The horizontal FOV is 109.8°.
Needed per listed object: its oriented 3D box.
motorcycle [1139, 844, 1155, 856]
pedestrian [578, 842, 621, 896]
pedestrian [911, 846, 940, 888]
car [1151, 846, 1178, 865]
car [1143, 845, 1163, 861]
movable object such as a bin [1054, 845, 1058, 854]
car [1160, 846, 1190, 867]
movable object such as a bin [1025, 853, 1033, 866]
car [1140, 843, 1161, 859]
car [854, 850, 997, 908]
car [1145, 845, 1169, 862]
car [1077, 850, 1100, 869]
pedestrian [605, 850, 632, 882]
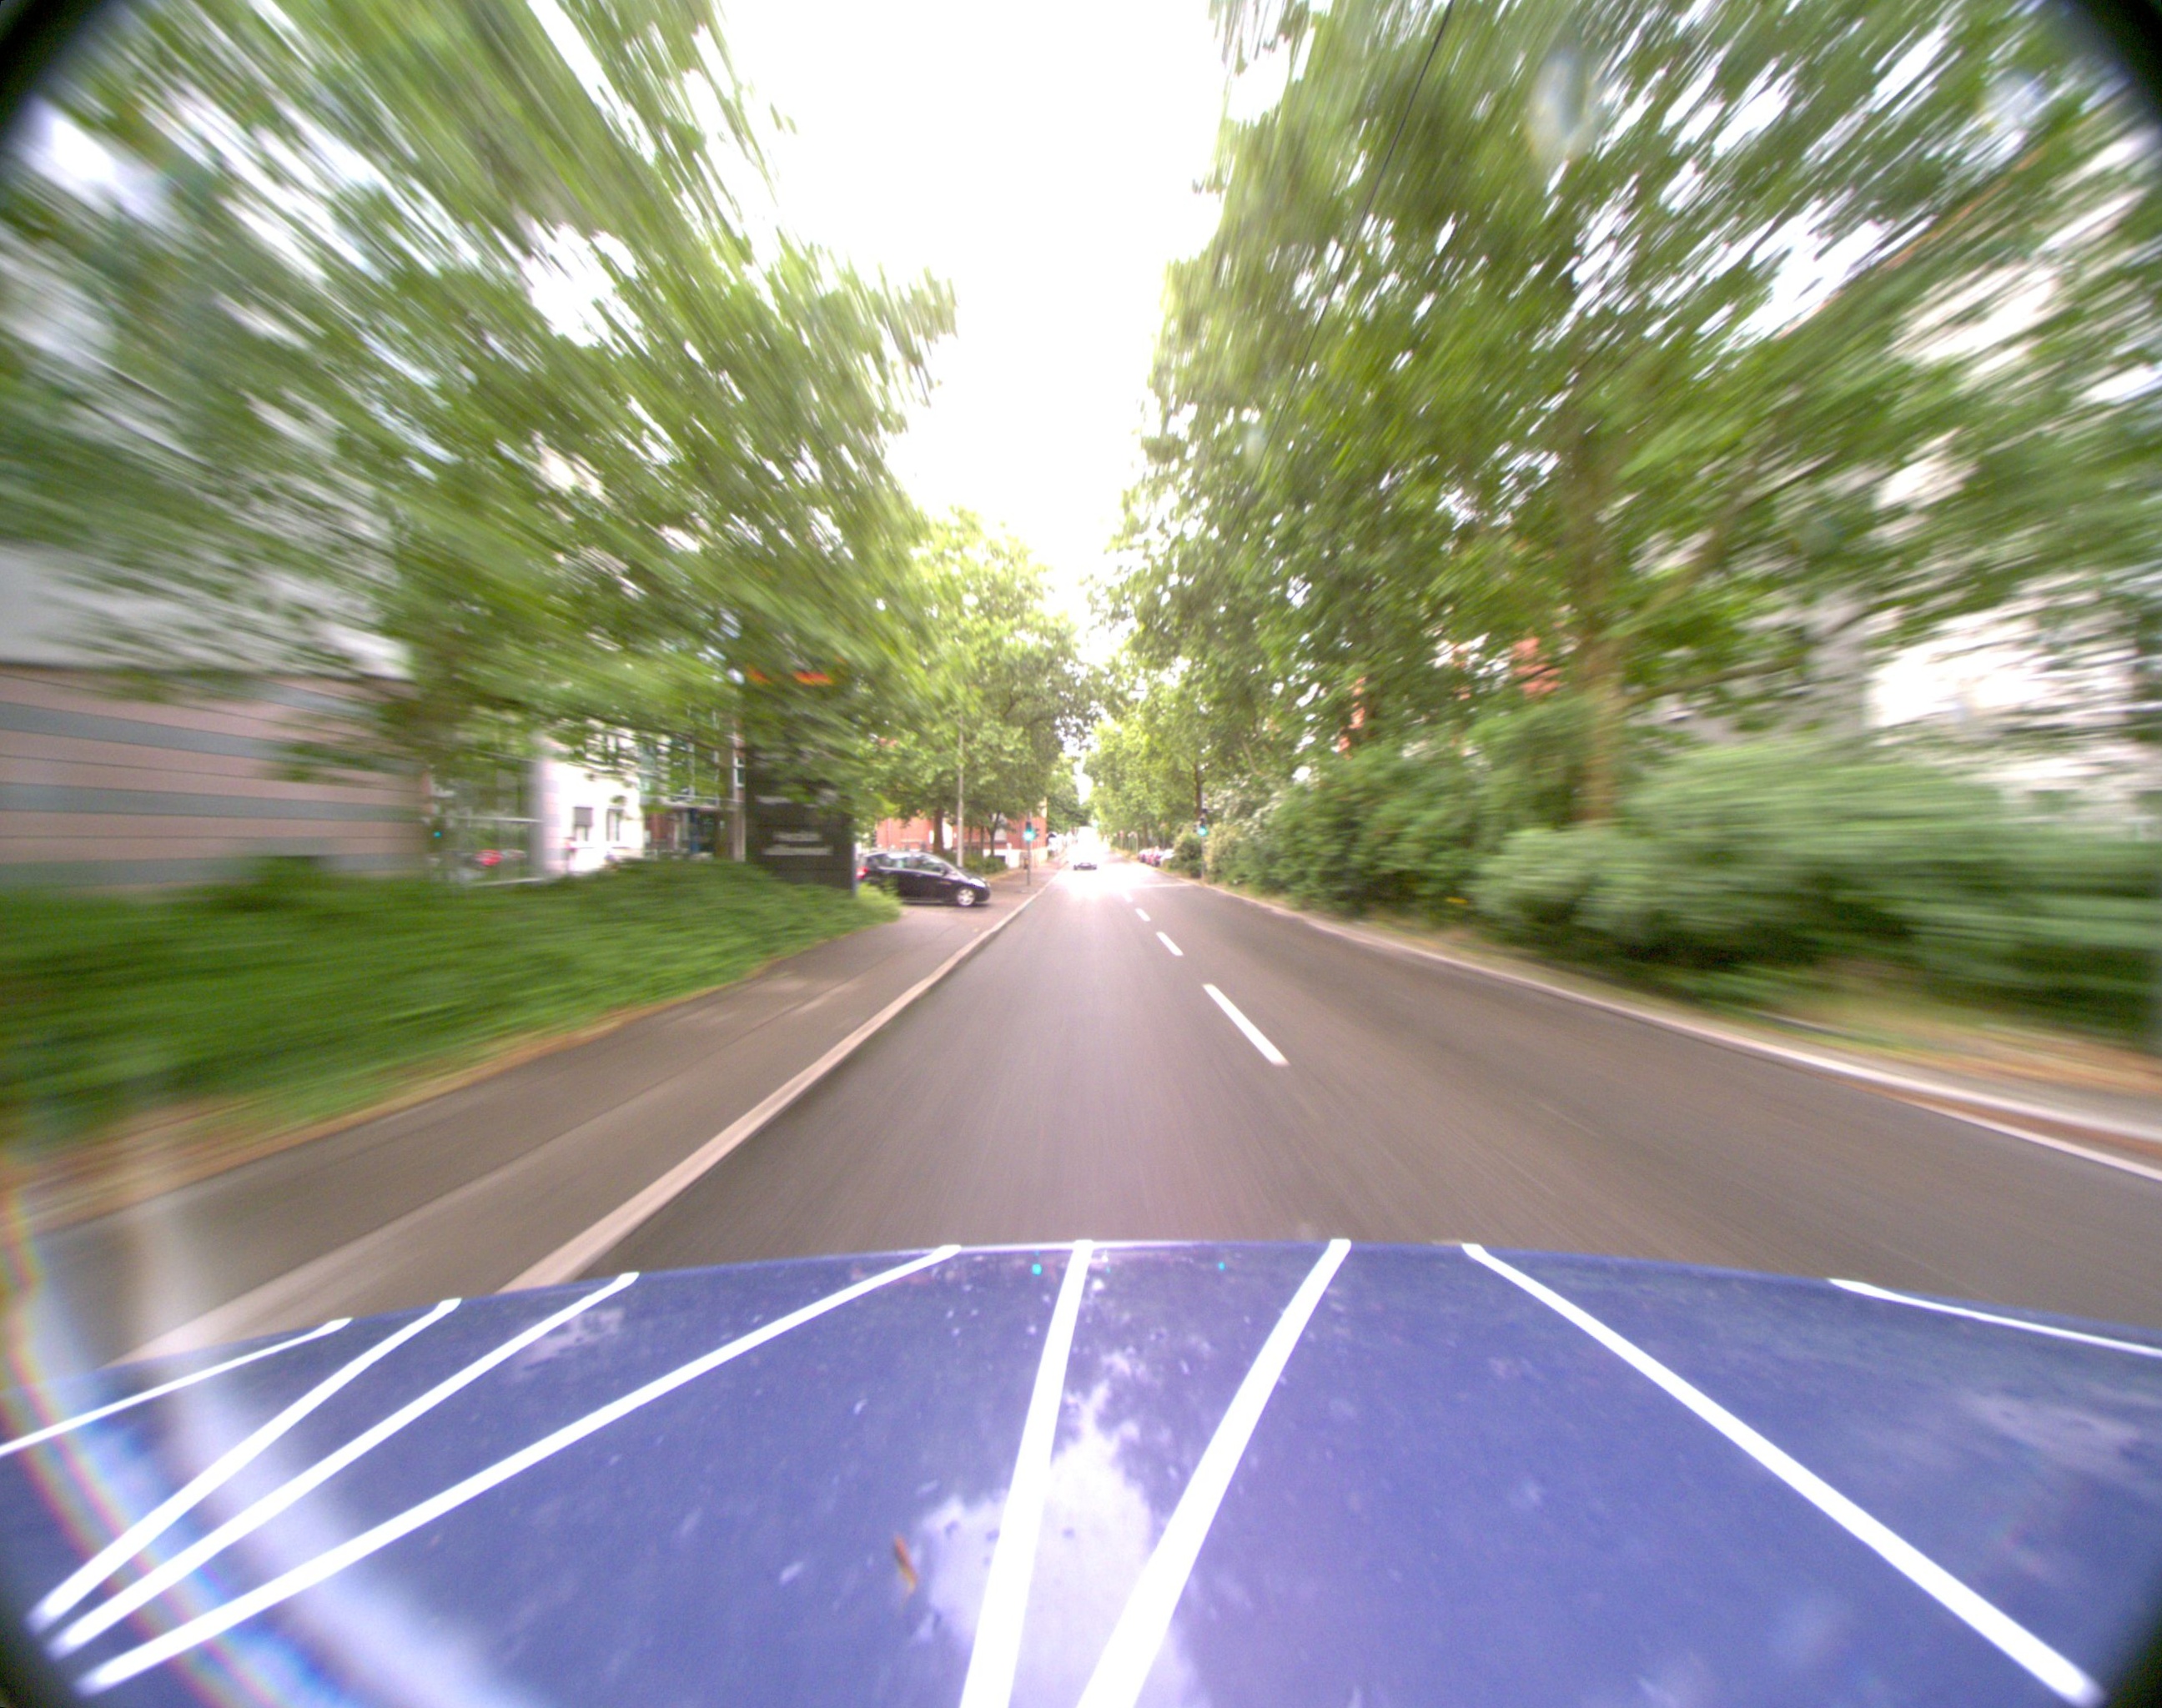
[{"bbox_3d":[7.348,-0.419,85.019,1.717,1.333,0.722,0,2,1],"label":"motorcycle"},{"bbox_3d":[-16.632,0.514,26.252,0.831,1.817,0.960,0,1,6],"label":"pedestrian"},{"bbox_3d":[-5.934,0.483,28.984,0.920,1.608,0.702,0,1,4],"label":"pedestrian"},{"bbox_3d":[6.871,0.101,62.727,1.721,1.459,4.232,-1,1,-1],"label":"car"},{"bbox_3d":[7.070,-0.152,74.856,1.559,1.459,3.396,-1,1,-1],"label":"car"},{"bbox_3d":[-3.235,-0.540,98.071,0.506,1.109,0.618,0,2,1],"label":"movable object such as a bin"},{"bbox_3d":[6.953,0.159,56.452,1.721,1.459,4.309,-1,1,1],"label":"car"},{"bbox_3d":[-4.008,0.426,58.476,0.592,0.927,0.572,1,1,0],"label":"movable object such as a bin"},{"bbox_3d":[7.268,-0.329,79.950,1.721,1.501,4.802,-1,1,-1],"label":"car"},{"bbox_3d":[-4.427,0.700,22.189,3.860,1.538,2.025,1,1,-6],"label":"car"},{"bbox_3d":[6.900,-0.079,69.345,1.721,1.459,3.754,-1,1,-1],"label":"car"},{"bbox_3d":[0.559,0.388,60.093,1.692,1.334,3.998,0,2,-2],"label":"car"},{"bbox_3d":[-16.465,0.428,27.055,0.623,1.124,0.562,0,1,4],"label":"pedestrian"}]
